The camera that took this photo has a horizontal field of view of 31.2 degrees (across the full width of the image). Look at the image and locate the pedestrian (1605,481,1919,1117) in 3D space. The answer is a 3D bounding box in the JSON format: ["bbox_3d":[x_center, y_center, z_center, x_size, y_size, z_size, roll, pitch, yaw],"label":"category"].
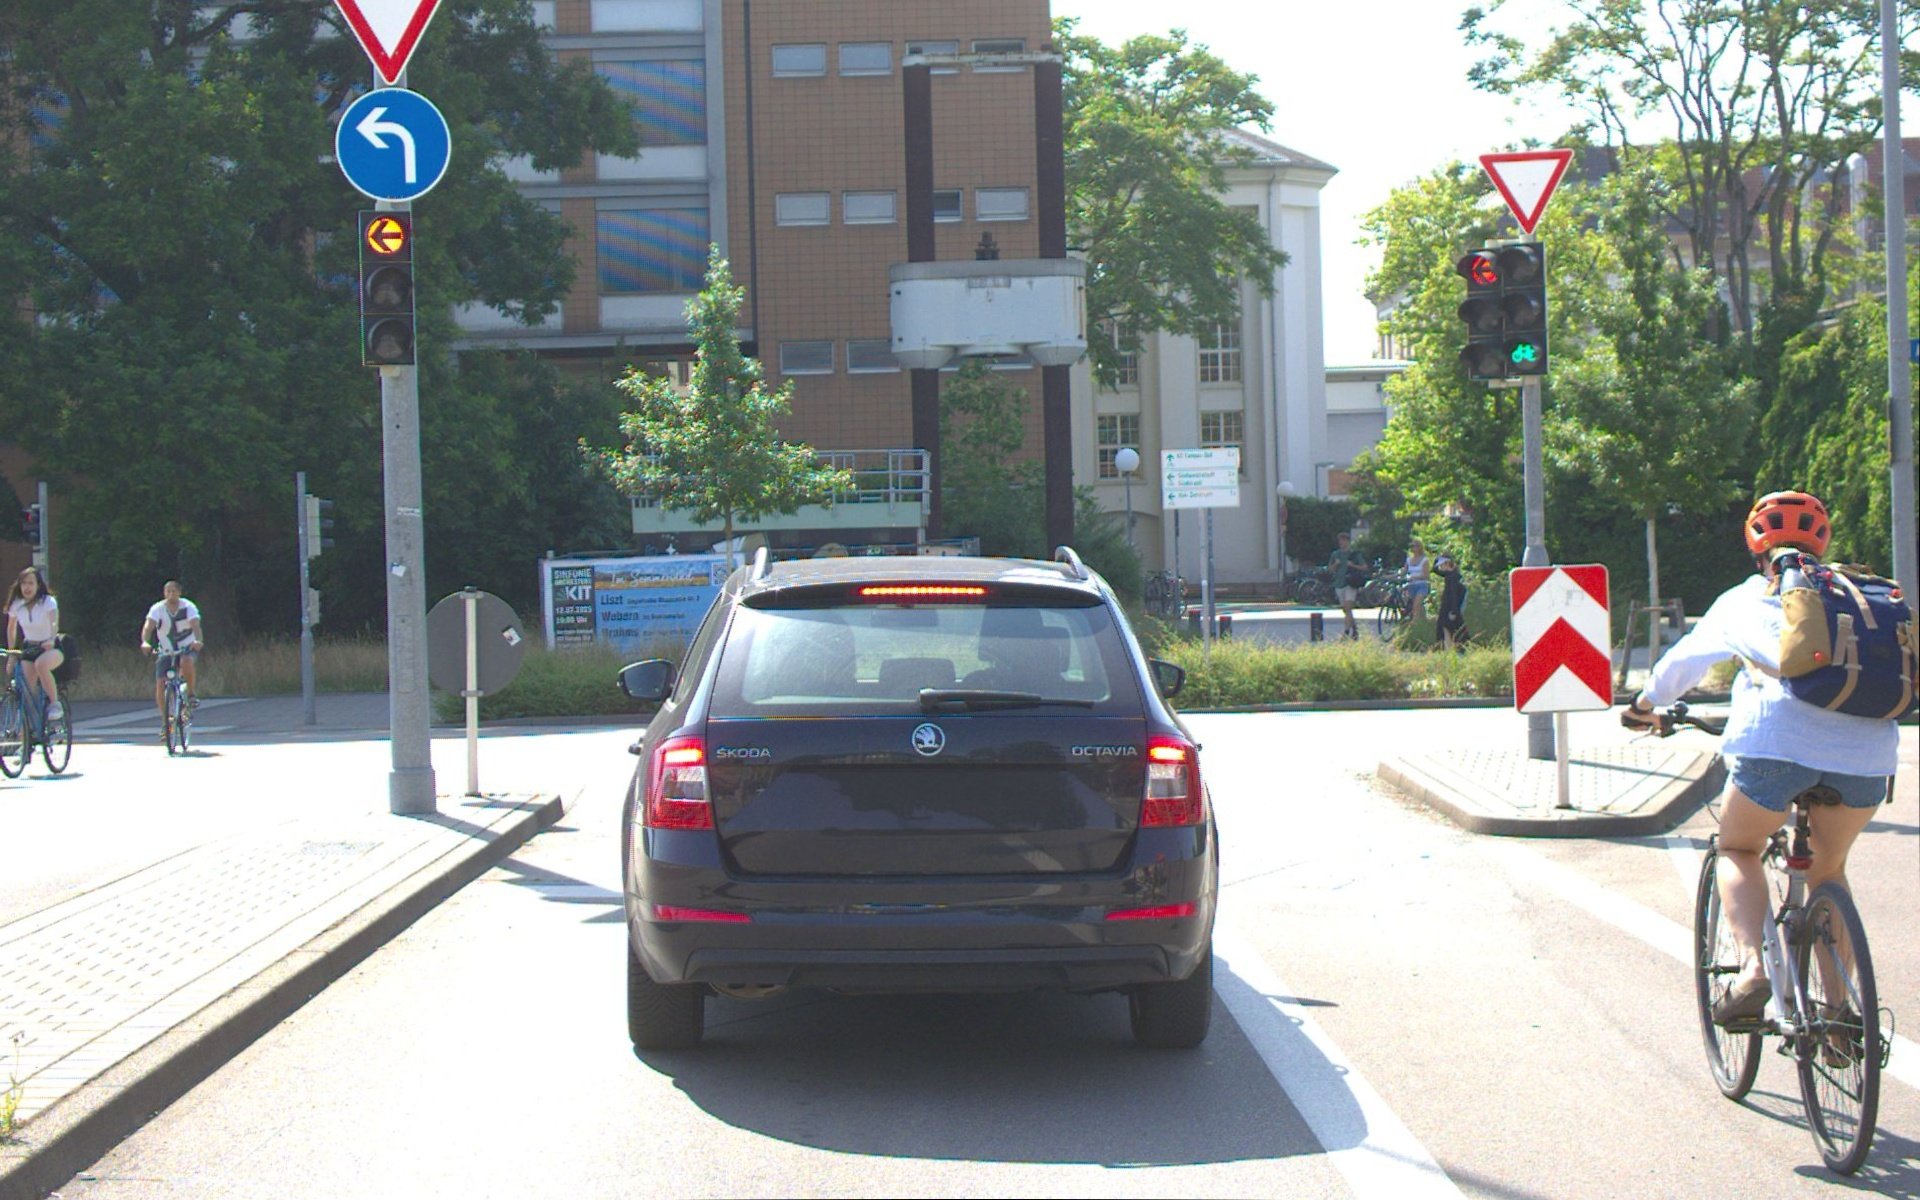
[{"bbox_3d":[2.031,0.453,8.448,0.583,1.461,1.014,0,0,-7],"label":"pedestrian"}]

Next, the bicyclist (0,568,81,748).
[{"bbox_3d":[-7.731,0.470,28.528,0.618,1.438,0.921,-4,1,-5],"label":"bicyclist"}]

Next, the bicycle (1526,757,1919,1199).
[{"bbox_3d":[2.016,0.919,8.659,0.596,0.928,2.029,0,1,-8],"label":"bicycle"}]

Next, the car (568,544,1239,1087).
[{"bbox_3d":[-0.156,0.548,11.047,1.780,1.438,3.818,0,1,0],"label":"car"}]

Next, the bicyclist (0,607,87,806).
[{"bbox_3d":[-7.705,0.873,28.546,0.618,1.576,1.014,-4,1,-5],"label":"bicyclist"}]

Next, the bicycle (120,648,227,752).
[{"bbox_3d":[-8.183,1.025,35.845,0.704,0.974,2.031,-2,1,-2],"label":"bicycle"}]

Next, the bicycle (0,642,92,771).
[{"bbox_3d":[-7.704,0.874,28.532,0.618,0.957,1.968,-4,1,-5],"label":"bicycle"}]

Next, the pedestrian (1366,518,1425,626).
[{"bbox_3d":[7.735,-0.496,61.068,0.795,1.868,0.638,-3,1,25],"label":"pedestrian"}]

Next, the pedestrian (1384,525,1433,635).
[{"bbox_3d":[7.762,-0.349,59.536,0.637,1.868,0.796,-3,1,-1],"label":"pedestrian"}]

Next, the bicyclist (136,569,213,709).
[{"bbox_3d":[-8.180,0.404,35.838,0.539,1.412,1.030,-3,0,-2],"label":"bicyclist"}]

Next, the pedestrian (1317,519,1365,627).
[{"bbox_3d":[6.718,-0.477,60.644,0.597,1.868,0.638,-3,1,23],"label":"pedestrian"}]
